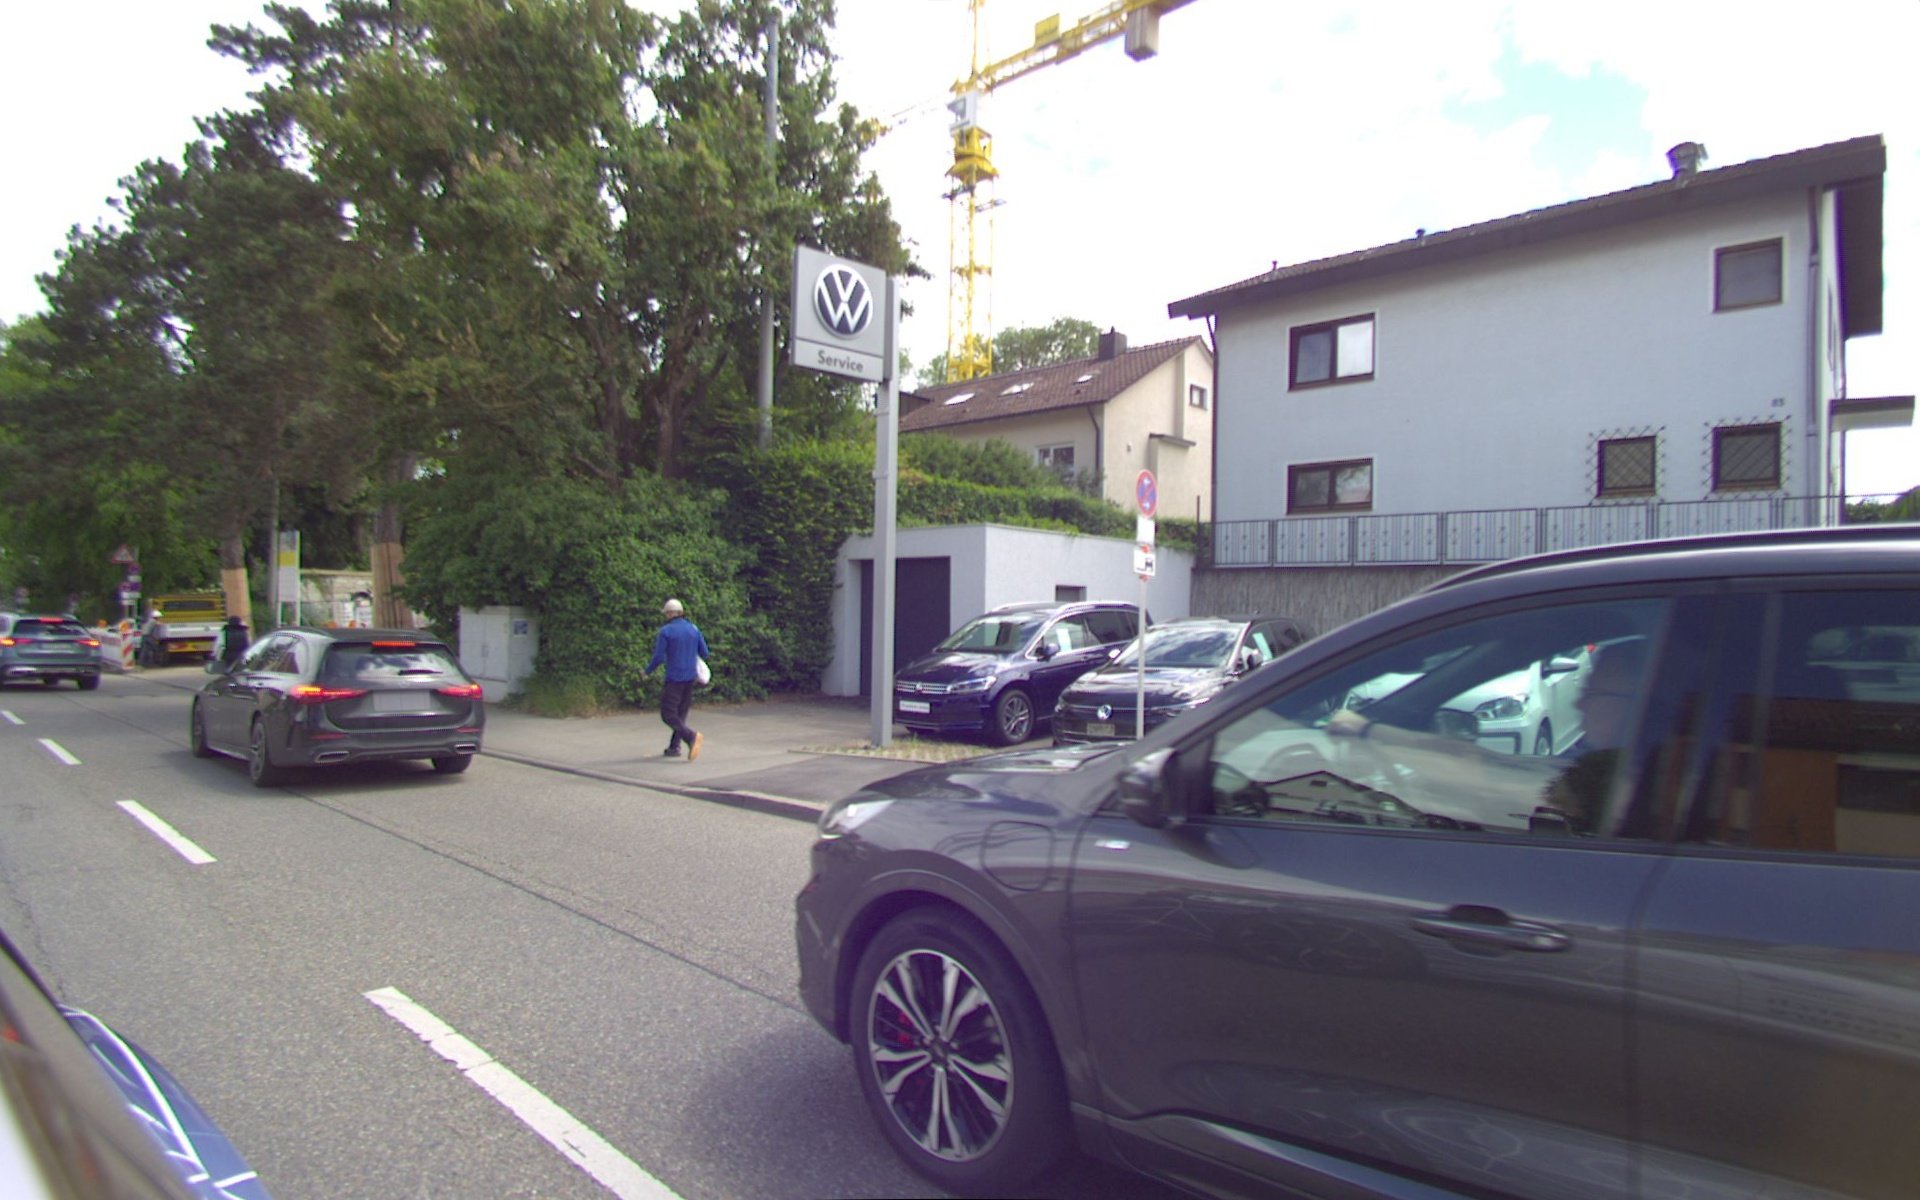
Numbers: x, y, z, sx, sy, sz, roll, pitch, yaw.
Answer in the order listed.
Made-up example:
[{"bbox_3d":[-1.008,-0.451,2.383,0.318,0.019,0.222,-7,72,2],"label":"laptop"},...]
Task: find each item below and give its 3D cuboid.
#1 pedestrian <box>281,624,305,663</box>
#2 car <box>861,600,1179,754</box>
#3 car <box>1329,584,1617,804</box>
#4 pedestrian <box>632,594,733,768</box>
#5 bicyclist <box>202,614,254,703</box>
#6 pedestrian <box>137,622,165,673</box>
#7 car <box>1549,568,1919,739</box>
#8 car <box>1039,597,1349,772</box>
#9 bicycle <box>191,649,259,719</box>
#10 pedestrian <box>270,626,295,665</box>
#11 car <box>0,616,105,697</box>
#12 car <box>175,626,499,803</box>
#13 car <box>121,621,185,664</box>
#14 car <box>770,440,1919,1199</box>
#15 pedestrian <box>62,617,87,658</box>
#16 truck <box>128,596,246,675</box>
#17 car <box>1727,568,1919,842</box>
[{"bbox_3d":[-23.993,1.561,36.420,0.566,1.396,0.540,0,0,-10],"label":"pedestrian"},{"bbox_3d":[0.929,0.867,13.323,1.904,1.653,4.243,-2,-1,43],"label":"car"},{"bbox_3d":[4.904,0.693,9.423,1.534,1.572,3.701,-2,0,41],"label":"car"},{"bbox_3d":[-2.949,0.819,10.750,0.868,1.750,0.675,0,0,42],"label":"pedestrian"},{"bbox_3d":[-12.406,0.979,17.148,0.864,1.460,0.464,-1,-3,40],"label":"bicyclist"},{"bbox_3d":[-25.690,1.493,32.131,0.654,1.559,0.568,0,0,37],"label":"pedestrian"},{"bbox_3d":[9.055,0.527,10.937,4.326,1.597,1.787,-3,0,43],"label":"car"},{"bbox_3d":[2.638,0.790,10.863,1.728,1.530,3.701,-2,-2,41],"label":"car"},{"bbox_3d":[-12.466,1.394,17.147,1.868,1.095,0.449,-1,-3,40],"label":"bicycle"},{"bbox_3d":[-24.747,1.642,36.975,0.566,1.396,0.540,0,0,-10],"label":"pedestrian"},{"bbox_3d":[-20.873,1.222,22.402,4.524,1.630,1.849,-2,-3,35],"label":"car"},{"bbox_3d":[-6.586,1.002,10.461,4.524,1.440,1.721,-1,-3,43],"label":"car"},{"bbox_3d":[-30.178,1.546,37.822,1.604,1.519,3.586,-1,0,-43],"label":"car"},{"bbox_3d":[1.631,0.634,2.222,4.320,1.642,1.811,-2,-2,42],"label":"car"},{"bbox_3d":[-41.114,1.724,47.006,0.824,1.861,1.022,0,0,-44],"label":"pedestrian"},{"bbox_3d":[-26.070,1.088,34.012,6.095,2.438,2.280,0,0,44],"label":"truck"},{"bbox_3d":[7.028,0.597,7.690,1.653,1.643,3.972,-2,0,41],"label":"car"}]
